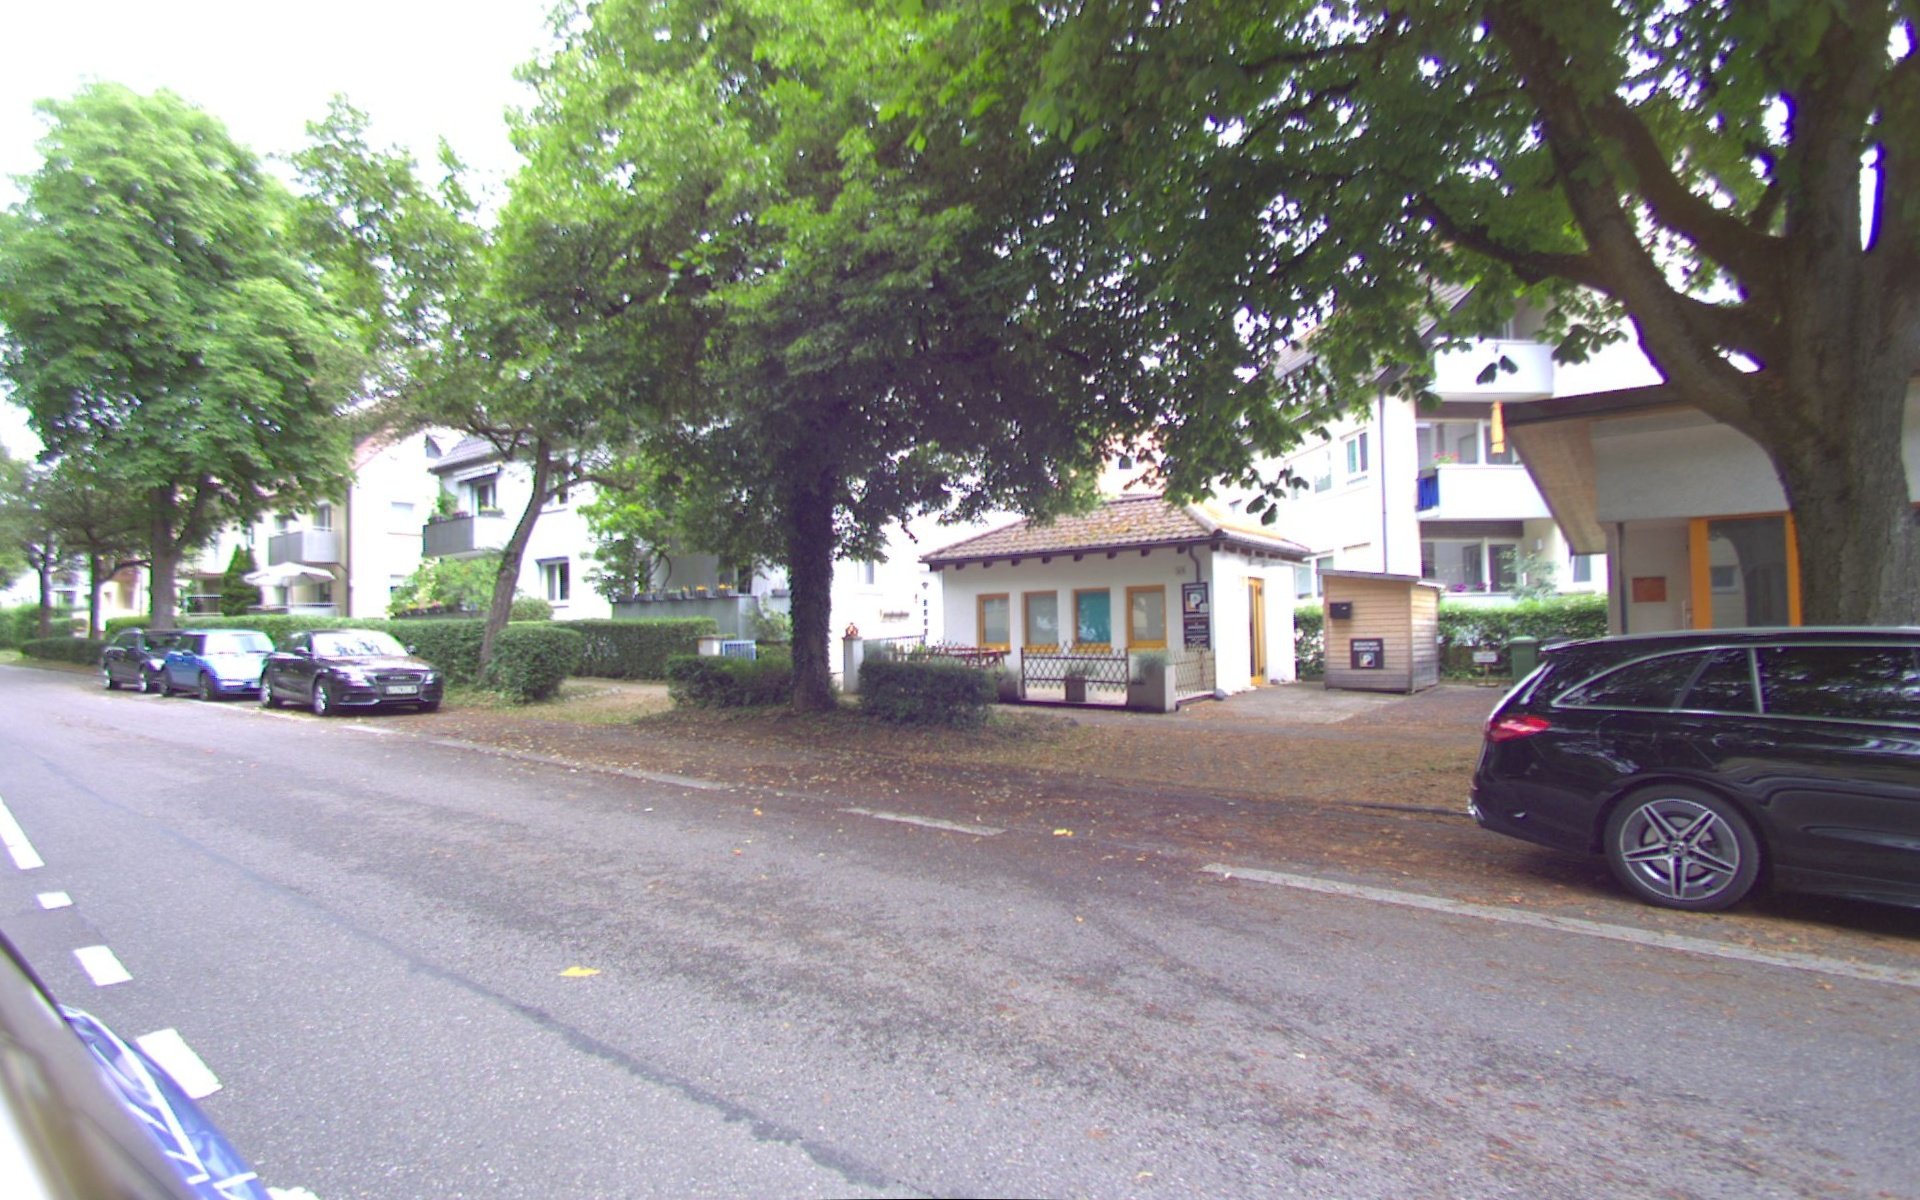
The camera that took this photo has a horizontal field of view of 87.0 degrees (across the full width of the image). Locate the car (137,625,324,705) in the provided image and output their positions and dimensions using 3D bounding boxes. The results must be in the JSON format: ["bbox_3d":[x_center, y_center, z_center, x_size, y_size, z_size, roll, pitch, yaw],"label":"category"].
[{"bbox_3d":[-15.351,1.311,21.215,4.557,1.512,1.866,-2,-3,37],"label":"car"}]

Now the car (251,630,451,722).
[{"bbox_3d":[-10.603,1.241,17.519,4.168,1.414,1.713,-2,-3,40],"label":"car"}]

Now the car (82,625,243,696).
[{"bbox_3d":[-19.083,1.398,24.152,4.557,1.545,1.866,-2,-3,37],"label":"car"}]

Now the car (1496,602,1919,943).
[{"bbox_3d":[5.360,0.779,4.863,4.611,1.511,1.973,-2,-3,40],"label":"car"}]
